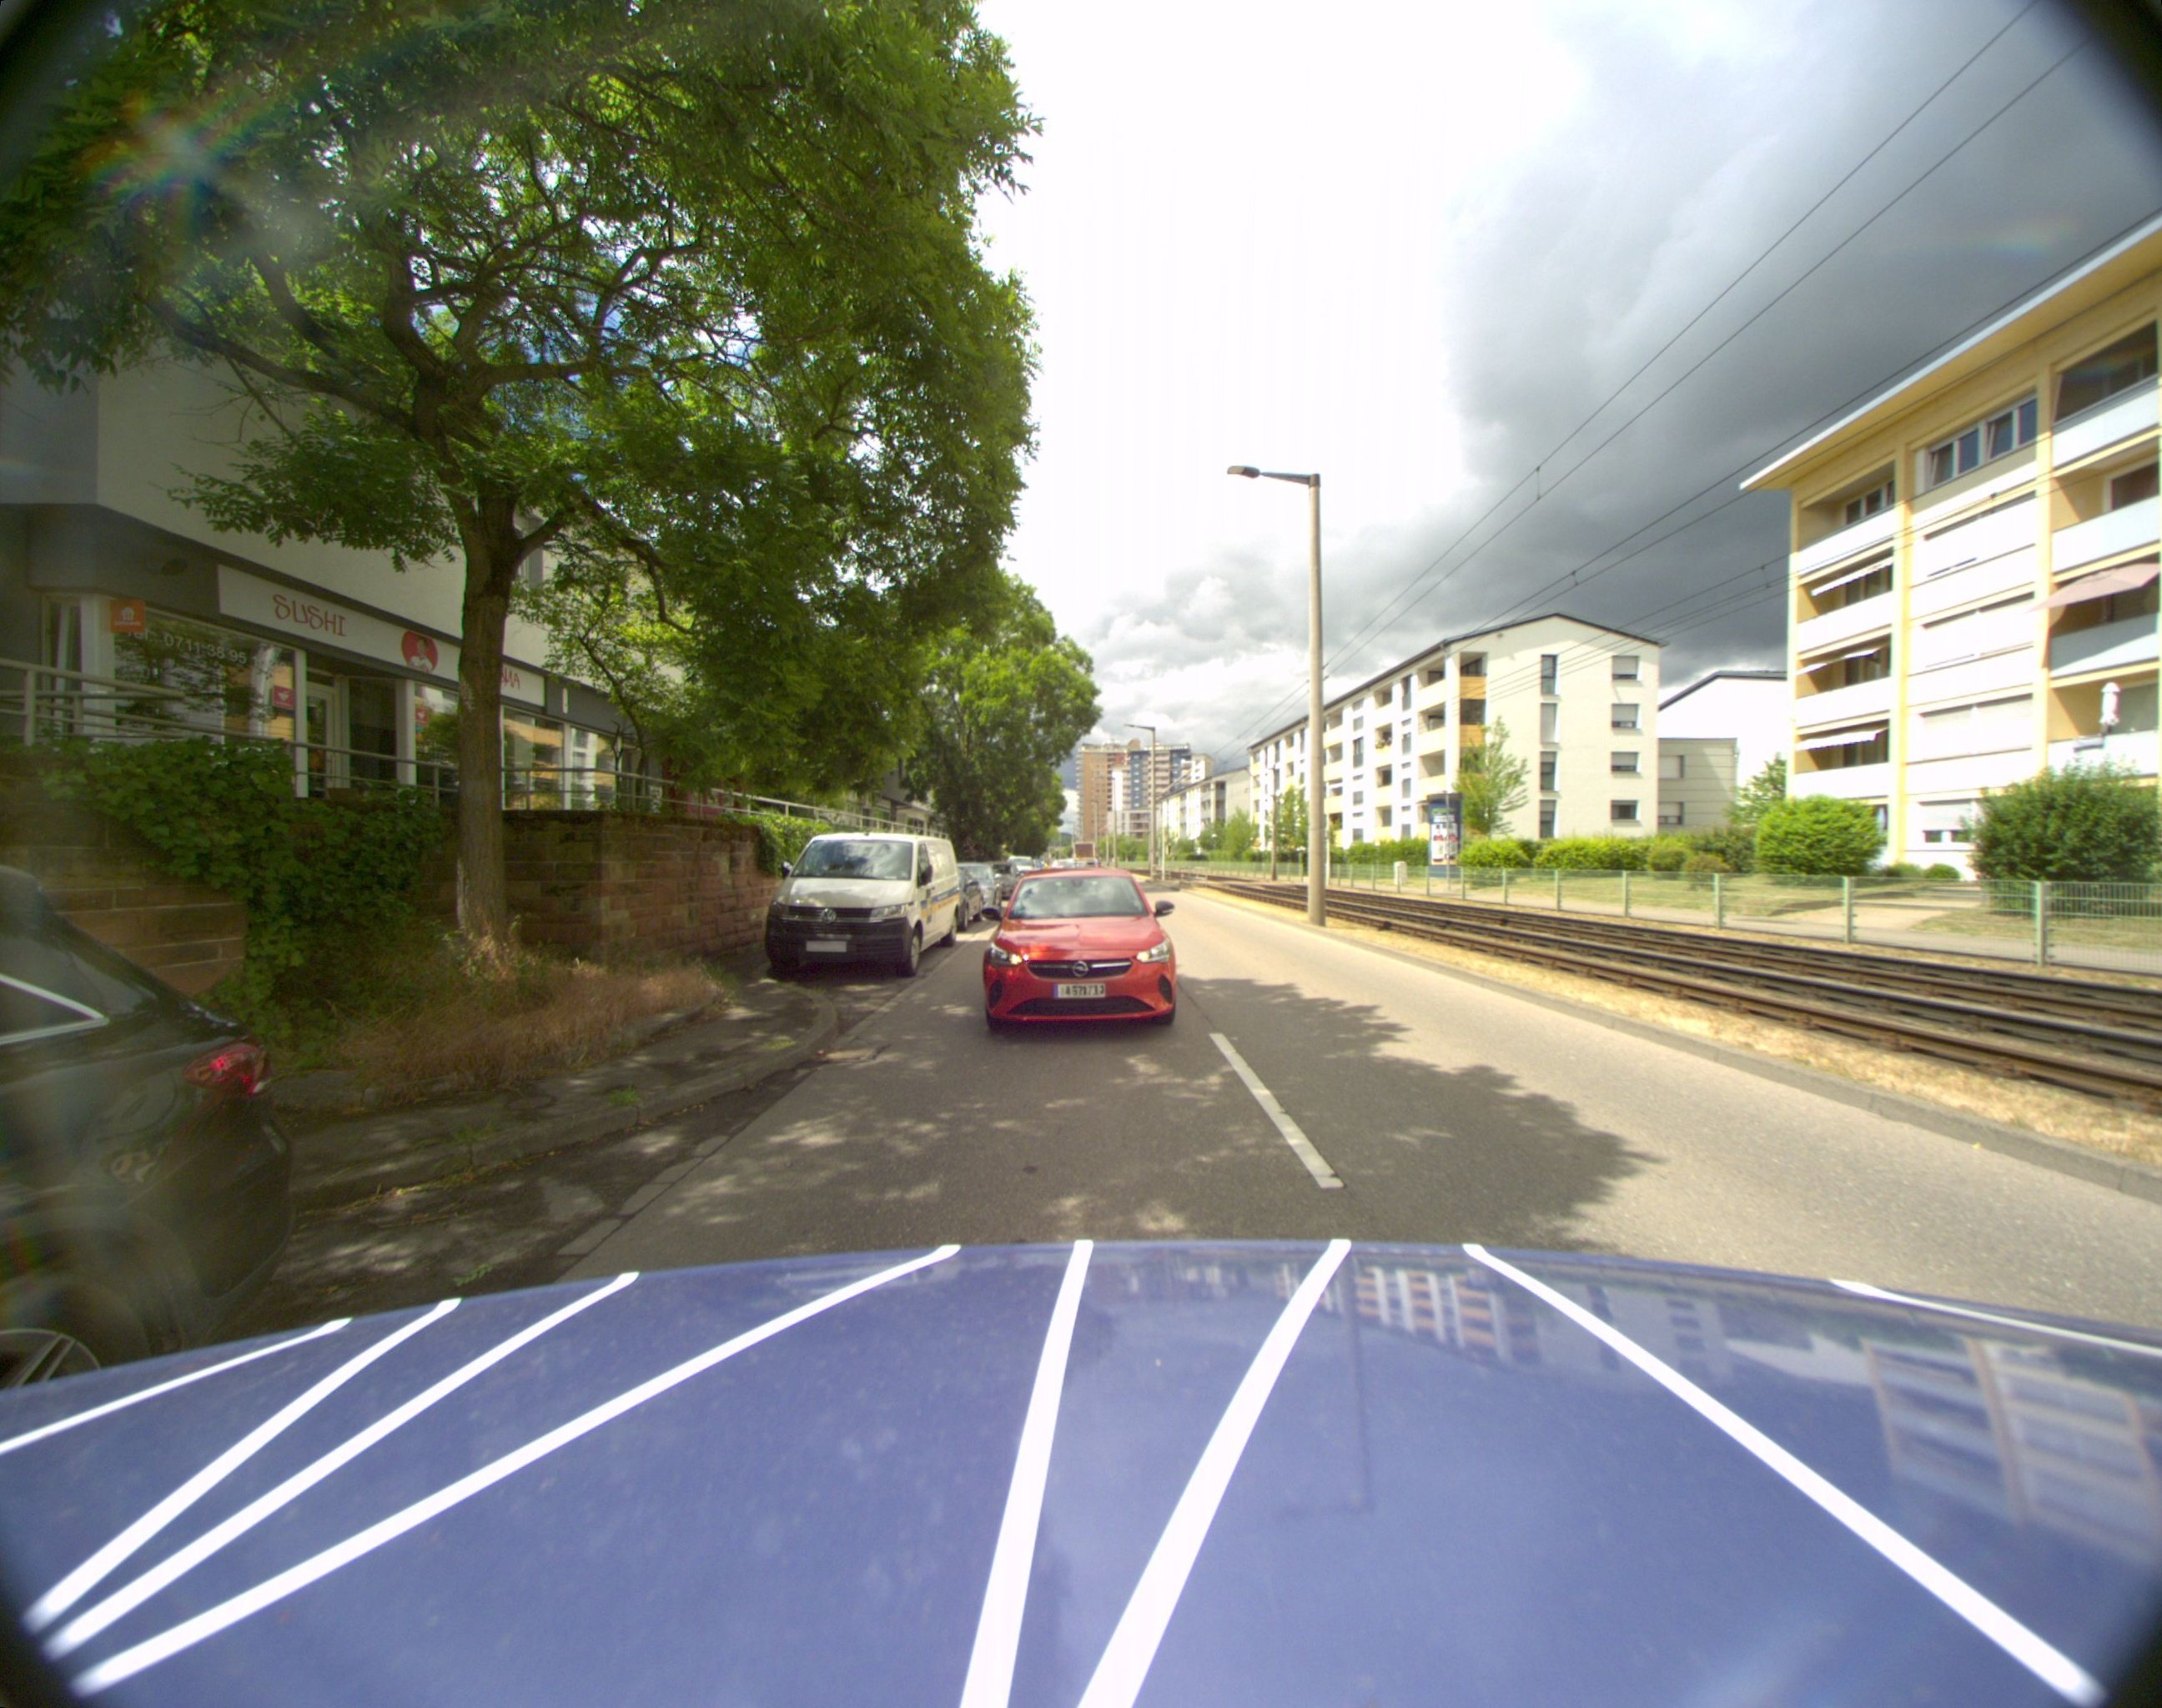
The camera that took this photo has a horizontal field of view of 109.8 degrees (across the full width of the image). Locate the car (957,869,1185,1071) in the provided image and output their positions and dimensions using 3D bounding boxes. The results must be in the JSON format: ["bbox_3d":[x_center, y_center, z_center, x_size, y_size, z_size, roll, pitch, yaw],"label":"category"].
[{"bbox_3d":[-0.040,0.949,7.951,1.723,1.434,4.000,-3,0,1],"label":"car"}]

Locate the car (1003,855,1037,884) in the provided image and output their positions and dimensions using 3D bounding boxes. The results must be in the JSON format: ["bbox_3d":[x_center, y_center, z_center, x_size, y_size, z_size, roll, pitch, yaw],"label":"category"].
[{"bbox_3d":[-3.562,0.862,45.035,1.819,1.643,4.146,0,0,-2],"label":"car"}]

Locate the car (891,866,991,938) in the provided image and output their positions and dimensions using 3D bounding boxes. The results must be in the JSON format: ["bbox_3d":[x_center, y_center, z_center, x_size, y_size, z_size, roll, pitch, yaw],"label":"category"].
[{"bbox_3d":[-3.141,1.021,17.691,1.578,1.420,3.734,-1,0,0],"label":"car"}]

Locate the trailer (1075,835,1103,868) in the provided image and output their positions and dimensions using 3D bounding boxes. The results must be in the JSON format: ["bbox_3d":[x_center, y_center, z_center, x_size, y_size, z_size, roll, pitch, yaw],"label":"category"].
[{"bbox_3d":[0.846,-0.274,88.866,2.875,3.428,14.614,-2,0,0],"label":"trailer"}]

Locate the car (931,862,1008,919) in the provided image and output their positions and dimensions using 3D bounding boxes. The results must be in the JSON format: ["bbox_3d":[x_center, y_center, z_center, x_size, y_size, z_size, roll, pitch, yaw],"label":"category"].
[{"bbox_3d":[-3.201,1.014,22.603,1.785,1.420,4.144,2,0,-2],"label":"car"}]

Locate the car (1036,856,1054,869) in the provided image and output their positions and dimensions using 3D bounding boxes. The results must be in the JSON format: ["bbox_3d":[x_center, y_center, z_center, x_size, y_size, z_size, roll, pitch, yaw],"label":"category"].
[{"bbox_3d":[-4.004,0.905,86.130,1.784,1.420,4.147,-1,0,0],"label":"car"}]

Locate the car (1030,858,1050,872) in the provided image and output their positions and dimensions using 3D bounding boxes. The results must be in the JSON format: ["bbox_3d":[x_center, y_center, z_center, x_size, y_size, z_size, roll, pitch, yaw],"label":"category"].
[{"bbox_3d":[-4.221,1.109,78.992,1.784,1.420,4.147,-1,0,0],"label":"car"}]

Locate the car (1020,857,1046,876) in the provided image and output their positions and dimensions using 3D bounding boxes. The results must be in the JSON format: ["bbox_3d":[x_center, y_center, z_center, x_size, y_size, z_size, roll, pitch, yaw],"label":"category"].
[{"bbox_3d":[-3.884,0.974,61.910,1.784,1.420,4.147,-1,0,0],"label":"car"}]

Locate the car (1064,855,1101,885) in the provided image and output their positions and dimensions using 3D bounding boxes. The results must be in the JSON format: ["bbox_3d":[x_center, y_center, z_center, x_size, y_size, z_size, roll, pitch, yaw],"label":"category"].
[{"bbox_3d":[0.058,0.850,42.772,1.927,1.543,3.999,-2,0,-1],"label":"car"}]

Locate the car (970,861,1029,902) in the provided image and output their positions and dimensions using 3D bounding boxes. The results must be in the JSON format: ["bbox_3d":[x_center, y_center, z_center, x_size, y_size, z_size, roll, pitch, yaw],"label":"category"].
[{"bbox_3d":[-3.106,1.012,29.559,1.784,1.420,4.147,-1,0,0],"label":"car"}]

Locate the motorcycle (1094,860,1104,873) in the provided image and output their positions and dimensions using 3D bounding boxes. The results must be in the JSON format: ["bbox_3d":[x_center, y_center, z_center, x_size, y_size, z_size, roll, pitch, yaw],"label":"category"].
[{"bbox_3d":[1.721,1.180,72.733,0.783,1.181,1.869,-1,0,-1],"label":"motorcycle"}]

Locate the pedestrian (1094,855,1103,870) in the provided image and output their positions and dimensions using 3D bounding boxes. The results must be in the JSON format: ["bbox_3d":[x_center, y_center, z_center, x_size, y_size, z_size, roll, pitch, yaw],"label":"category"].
[{"bbox_3d":[1.704,0.772,72.727,0.737,1.408,0.927,-2,1,-1],"label":"pedestrian"}]

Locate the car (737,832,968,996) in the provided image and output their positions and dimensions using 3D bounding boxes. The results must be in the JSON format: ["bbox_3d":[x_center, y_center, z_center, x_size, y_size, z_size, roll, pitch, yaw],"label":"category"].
[{"bbox_3d":[-3.131,0.726,11.681,1.978,1.958,5.013,-1,0,0],"label":"car"}]

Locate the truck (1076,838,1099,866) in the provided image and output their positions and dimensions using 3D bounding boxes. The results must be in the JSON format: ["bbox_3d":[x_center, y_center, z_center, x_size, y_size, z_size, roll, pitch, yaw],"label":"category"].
[{"bbox_3d":[0.828,-0.294,97.321,2.852,3.428,4.415,-2,0,0],"label":"truck"}]
